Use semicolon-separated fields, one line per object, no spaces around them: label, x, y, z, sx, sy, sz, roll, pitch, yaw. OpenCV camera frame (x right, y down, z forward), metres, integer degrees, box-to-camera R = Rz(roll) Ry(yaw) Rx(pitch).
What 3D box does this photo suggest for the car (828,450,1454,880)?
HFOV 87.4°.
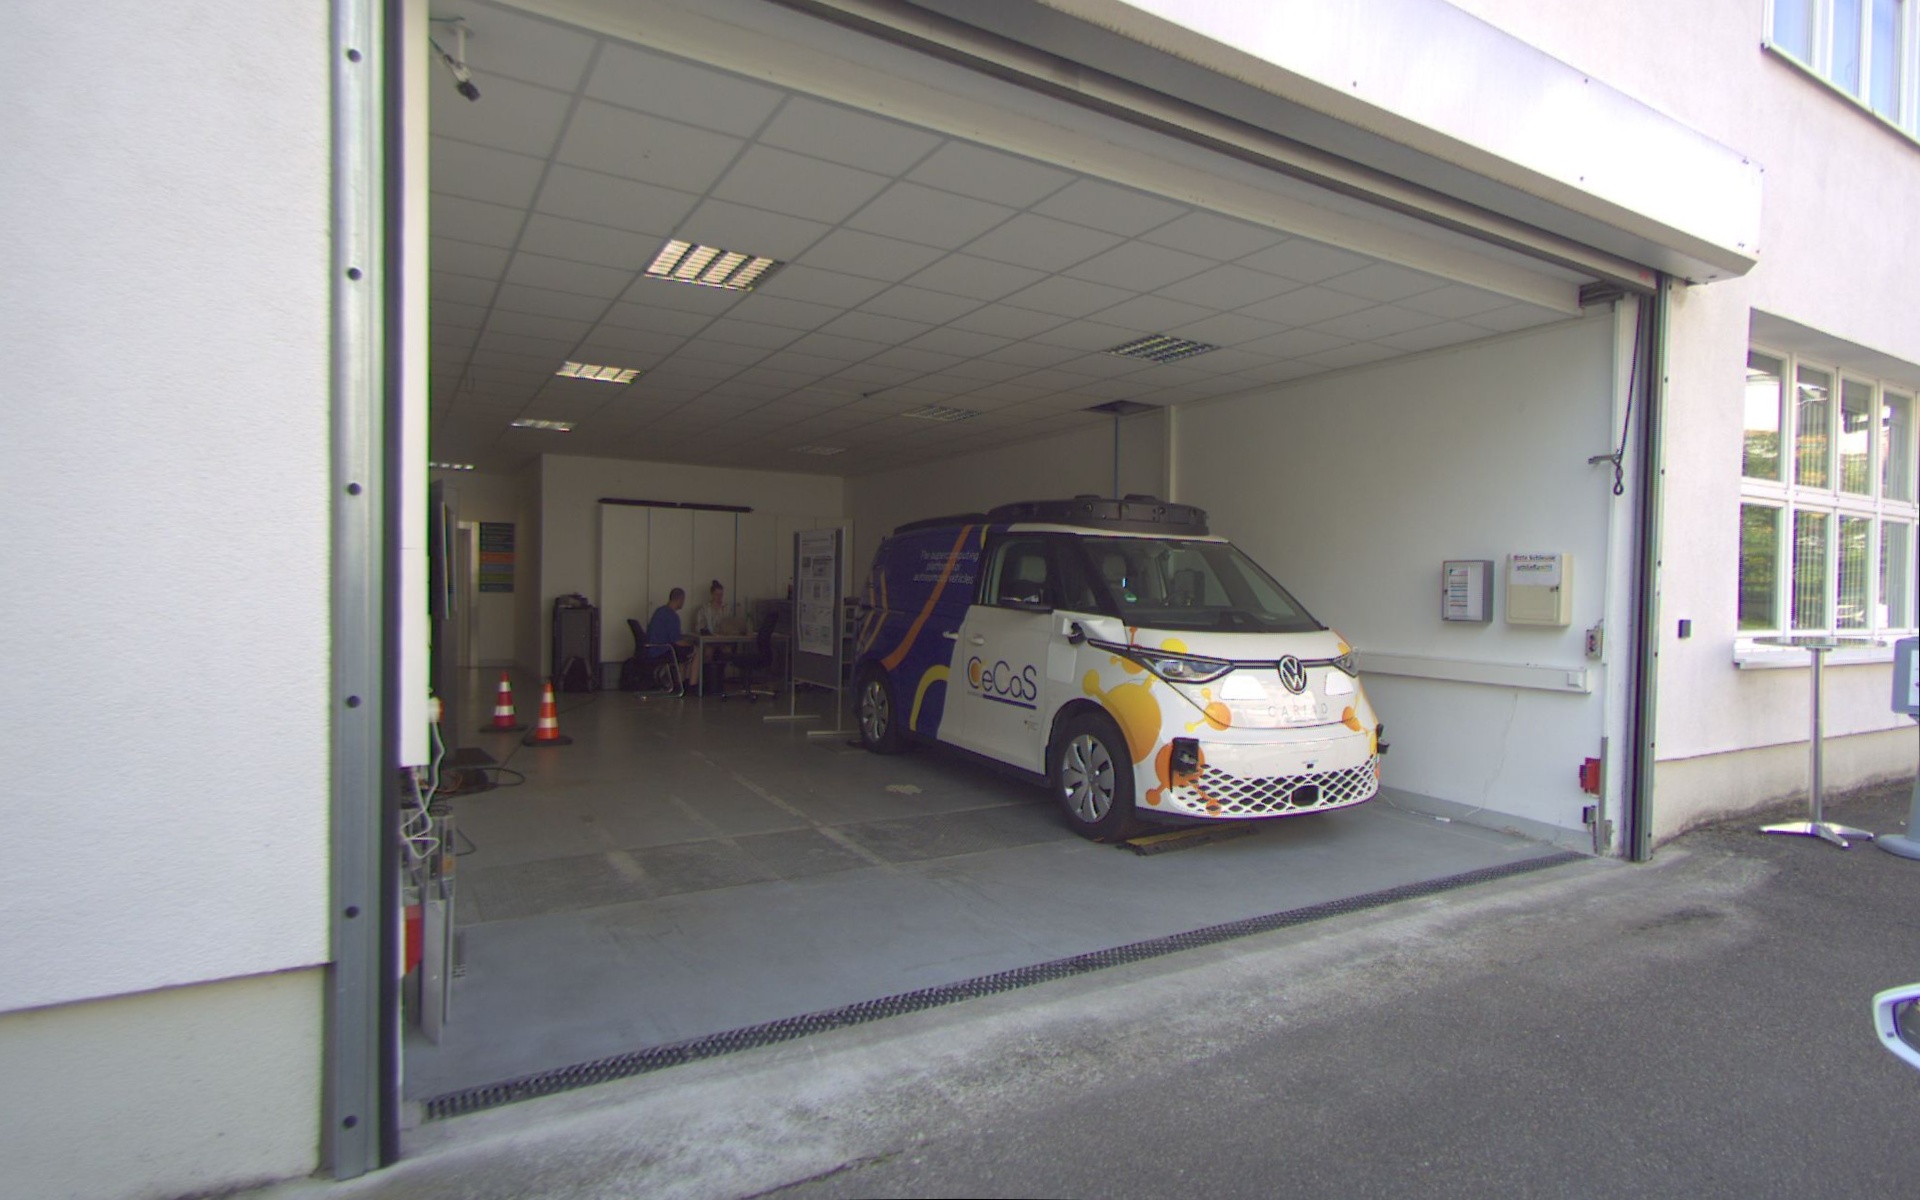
car;0.862;0.271;7.514;2.031;2.121;4.724;1;1;-29
